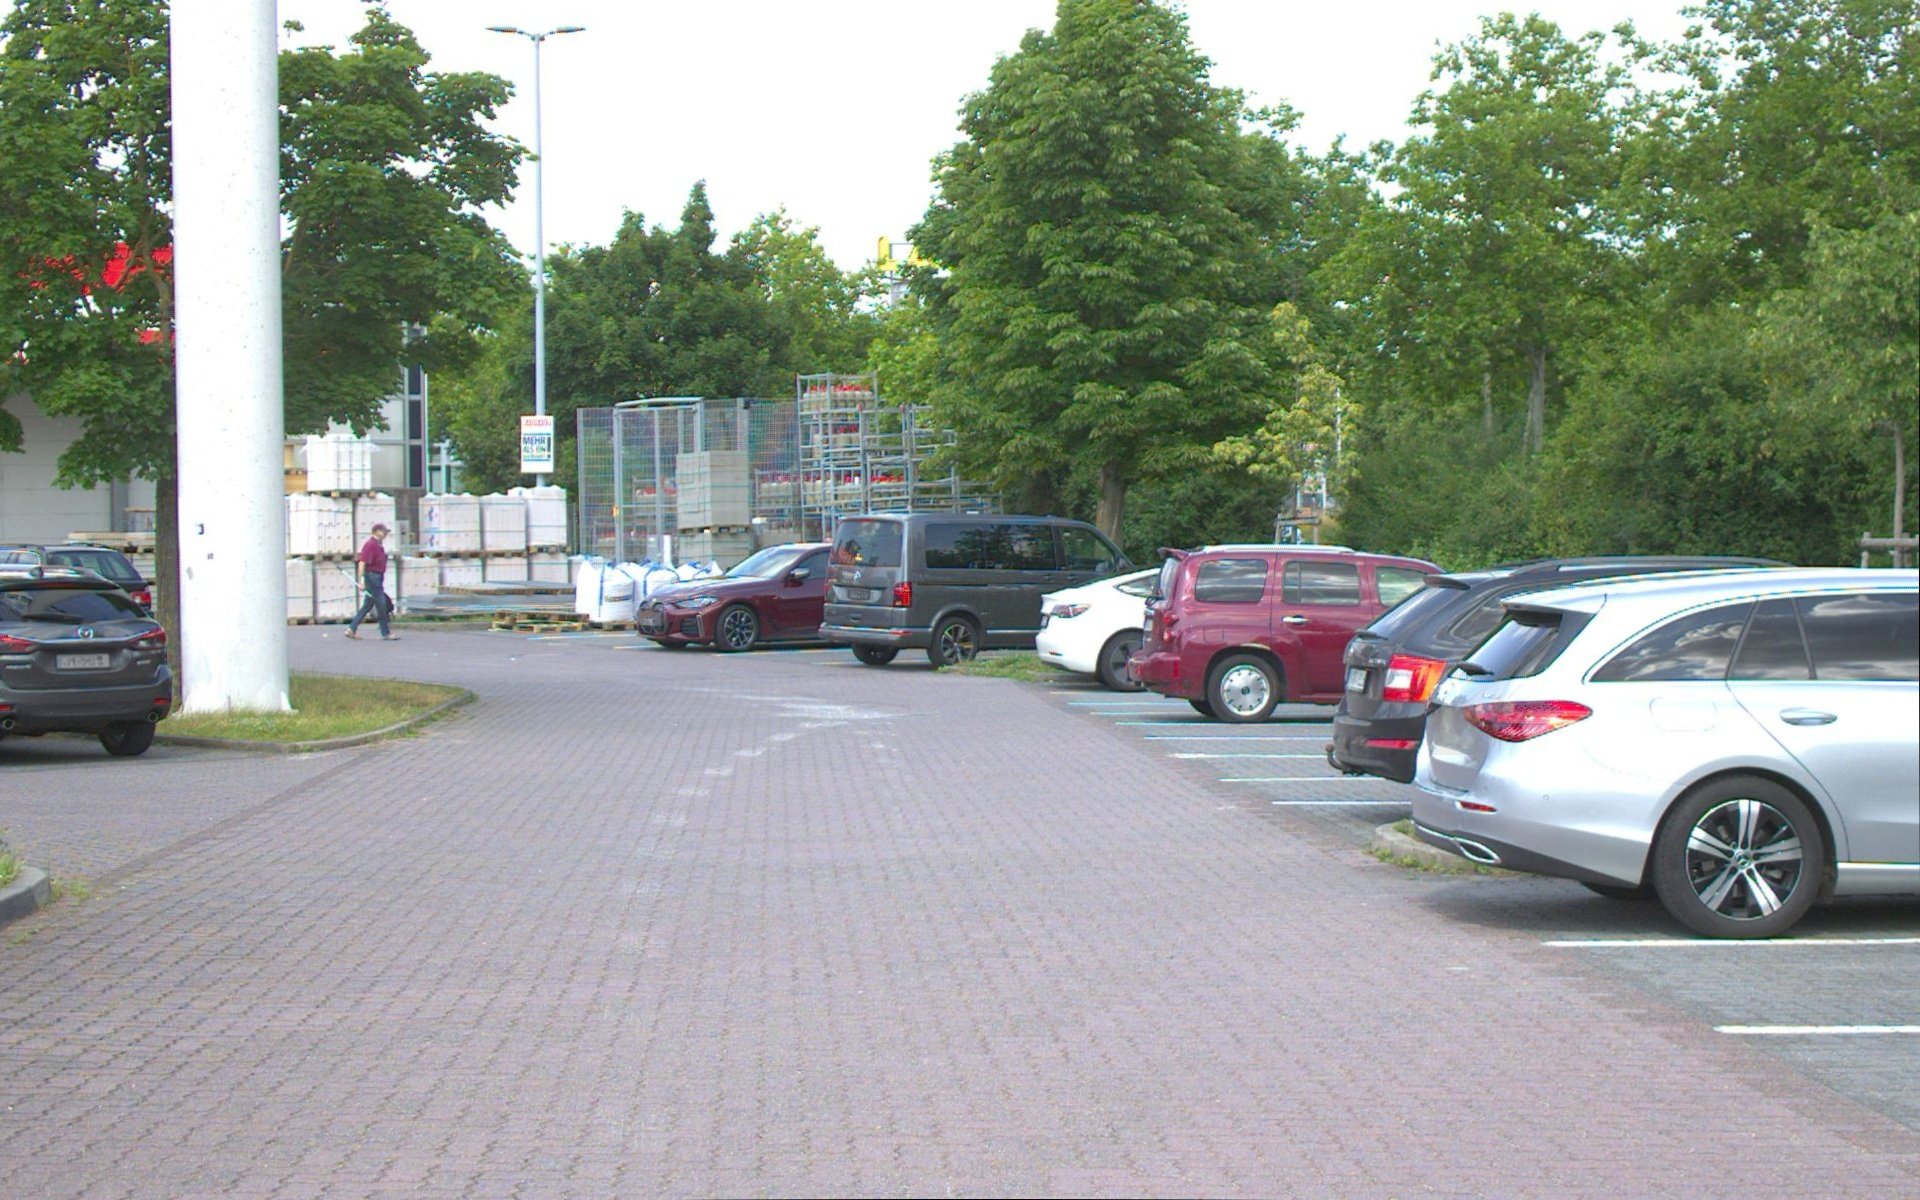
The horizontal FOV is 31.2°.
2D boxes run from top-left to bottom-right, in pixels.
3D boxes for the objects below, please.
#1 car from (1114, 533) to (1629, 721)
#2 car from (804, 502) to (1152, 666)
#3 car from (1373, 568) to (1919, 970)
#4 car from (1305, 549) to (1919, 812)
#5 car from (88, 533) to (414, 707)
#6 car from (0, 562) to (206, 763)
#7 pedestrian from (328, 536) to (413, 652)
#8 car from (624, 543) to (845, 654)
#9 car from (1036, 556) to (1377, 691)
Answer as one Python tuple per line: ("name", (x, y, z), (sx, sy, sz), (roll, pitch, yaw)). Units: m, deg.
("car", (3.674, 0.213, 31.177), (4.305, 1.590, 2.000), (-1, 1, -5))
("car", (0.247, -0.169, 44.082), (4.044, 2.012, 1.947), (1, -1, -33))
("car", (4.179, 0.625, 14.239), (4.638, 1.499, 1.785), (-1, 1, -3))
("car", (4.068, 0.458, 19.332), (3.986, 1.376, 1.699), (1, -1, -4))
("car", (-7.168, 0.162, 34.474), (1.993, 1.612, 4.000), (-1, 1, -30))
("car", (-7.760, 0.437, 26.996), (1.823, 1.434, 4.089), (-2, 1, -41))
("pedestrian", (-8.547, -0.085, 49.870), (0.920, 1.660, 0.784), (0, 1, 25))
("car", (-3.113, -0.012, 47.487), (2.681, 1.427, 1.355), (2, -2, -30))
("car", (2.736, 0.264, 38.662), (3.632, 1.463, 1.634), (0, -1, -3))
